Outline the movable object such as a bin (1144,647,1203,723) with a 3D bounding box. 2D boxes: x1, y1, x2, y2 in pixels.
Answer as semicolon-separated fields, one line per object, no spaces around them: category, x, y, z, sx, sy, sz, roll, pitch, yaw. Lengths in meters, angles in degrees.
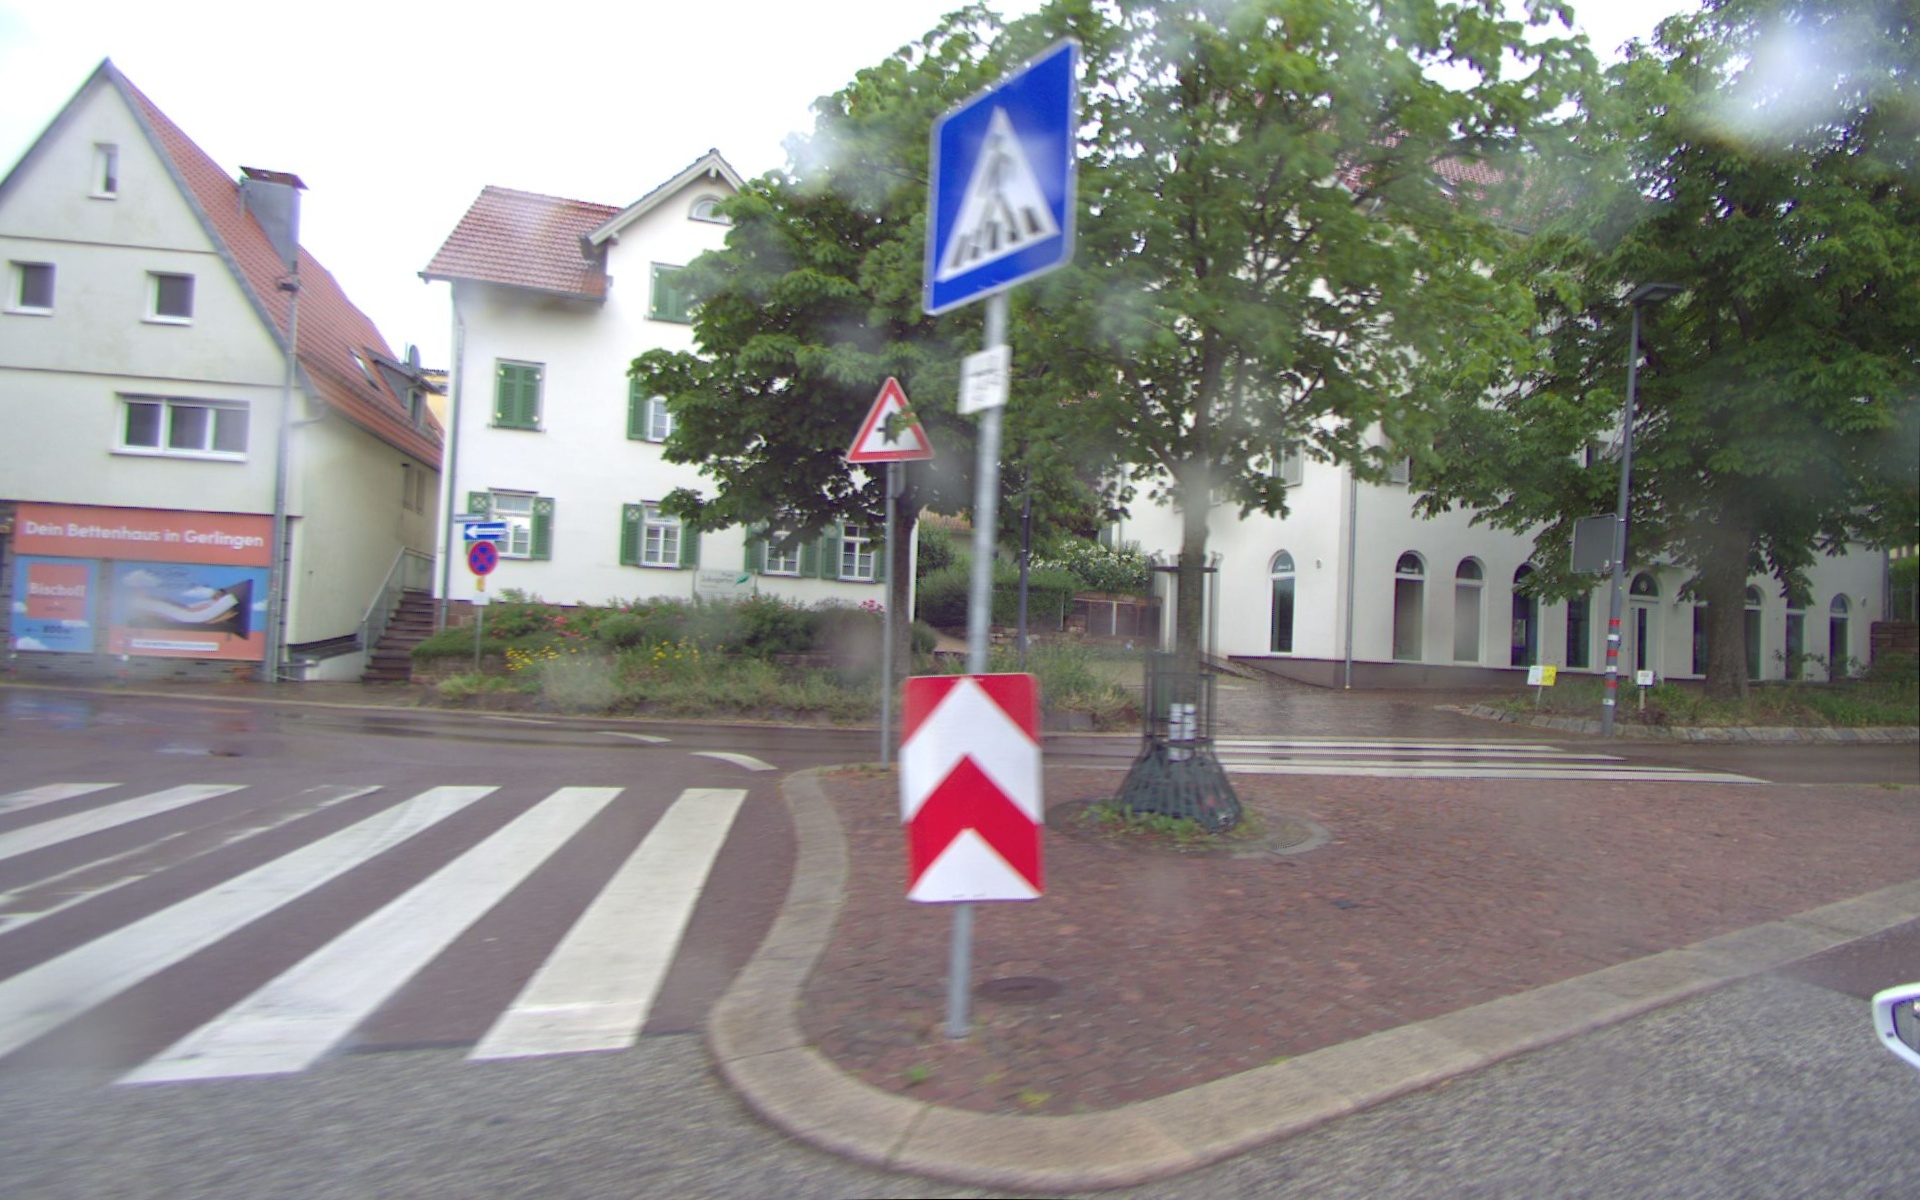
movable object such as a bin;3.135;1.249;14.782;0.684;1.072;0.636;2;-3;-3
